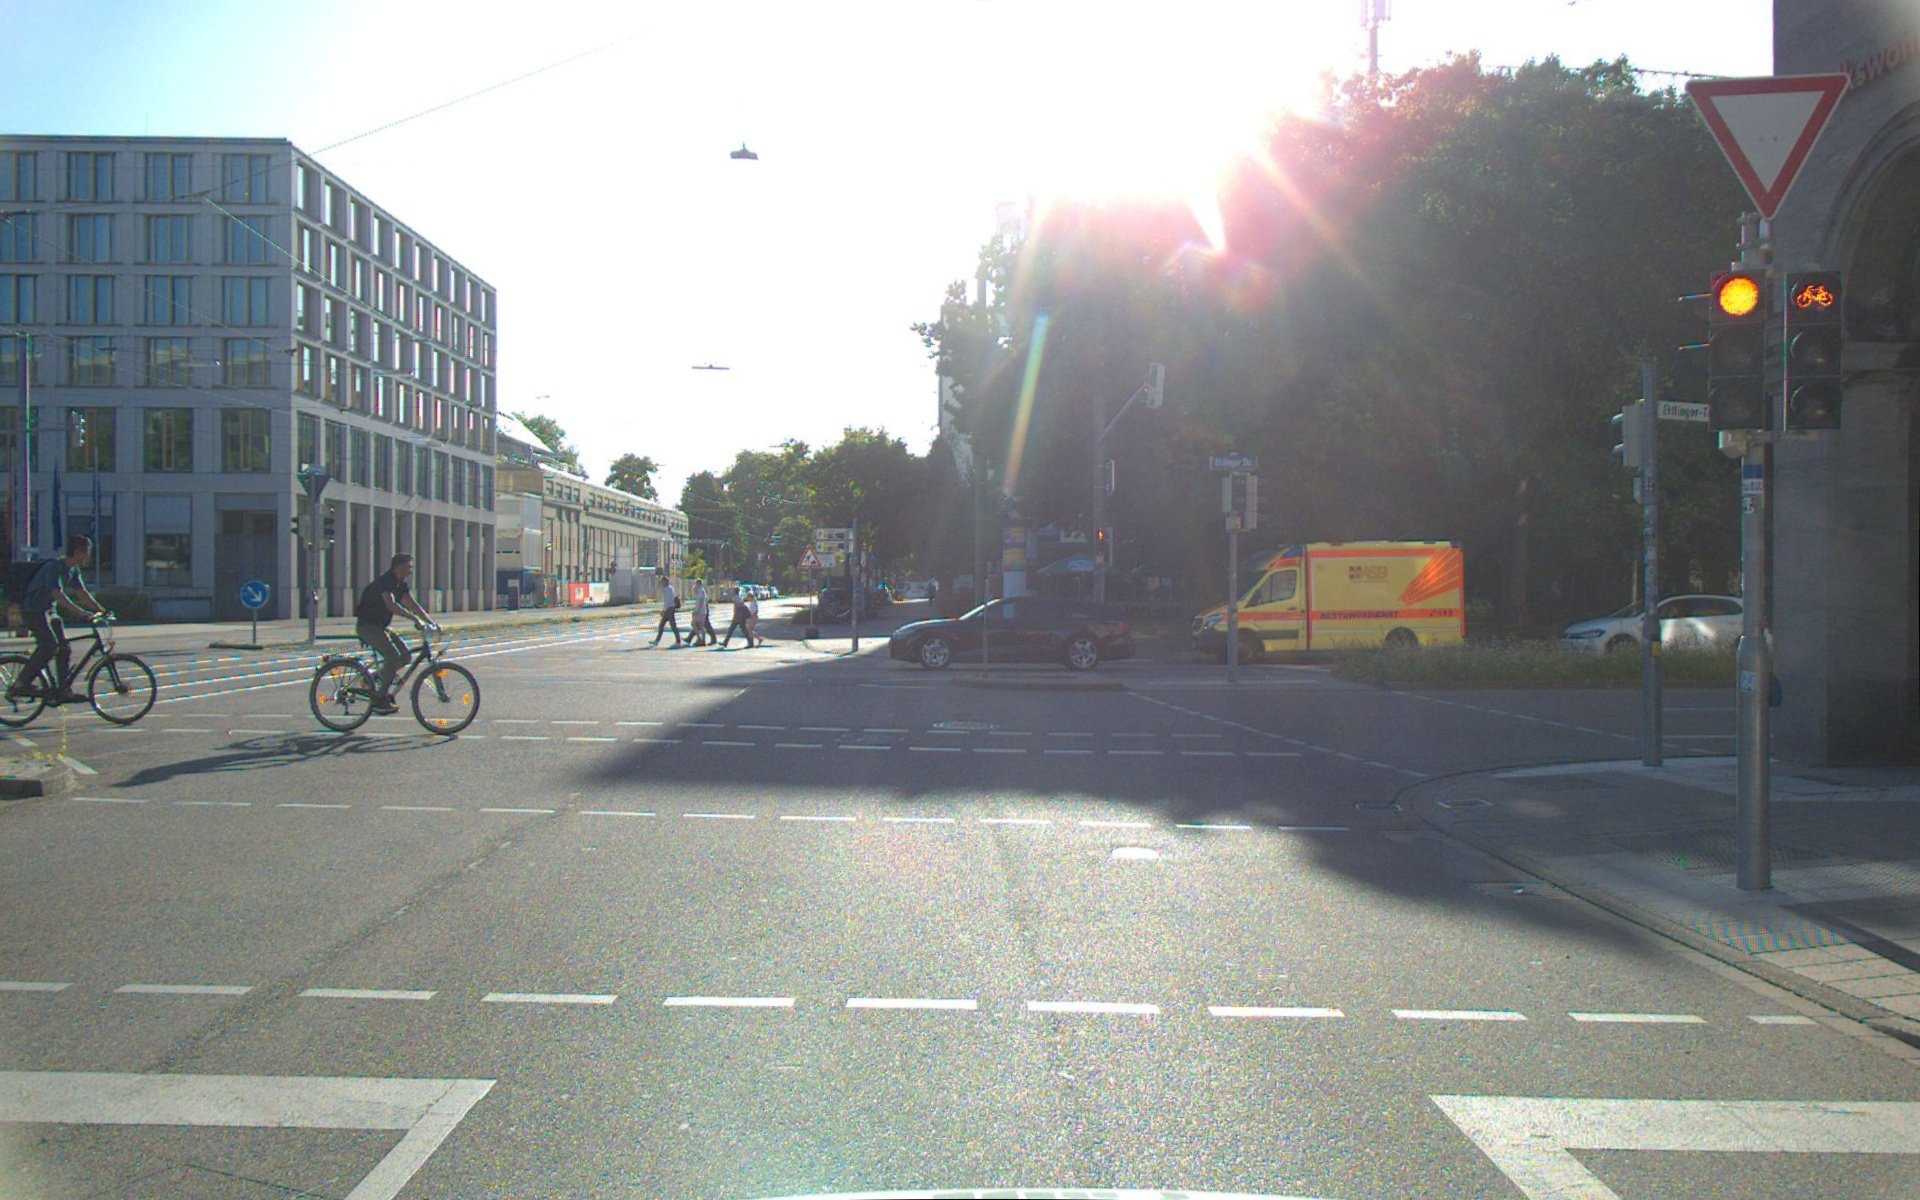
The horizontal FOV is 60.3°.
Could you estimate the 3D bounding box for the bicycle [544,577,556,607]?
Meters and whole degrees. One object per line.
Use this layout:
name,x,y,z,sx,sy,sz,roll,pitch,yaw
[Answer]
bicycle,-32.263,-0.657,130.163,0.559,2.336,1.422,0,0,-2

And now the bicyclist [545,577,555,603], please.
bicyclist,-32.265,-0.791,130.197,0.559,2.059,0.761,0,0,-2

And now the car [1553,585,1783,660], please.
car,14.237,0.450,33.378,3.961,1.459,1.631,0,-1,-2

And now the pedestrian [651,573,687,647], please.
pedestrian,-7.764,0.274,44.131,0.785,1.951,0.637,0,0,4

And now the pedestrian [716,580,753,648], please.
pedestrian,-6.135,0.367,45.060,0.852,1.835,0.664,0,0,4

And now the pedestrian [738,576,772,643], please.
pedestrian,-5.656,0.262,45.670,0.851,1.835,0.532,0,0,4

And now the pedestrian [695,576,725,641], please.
pedestrian,-7.012,0.236,46.339,0.723,1.835,0.532,0,0,4

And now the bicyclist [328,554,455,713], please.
bicyclist,-5.724,0.321,16.689,0.981,1.538,0.767,1,2,3

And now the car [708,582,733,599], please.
car,-22.536,-0.901,155.980,1.856,1.635,4.498,0,0,-3

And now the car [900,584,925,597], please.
car,-6.114,-1.206,213.353,3.152,1.616,1.445,1,0,-5

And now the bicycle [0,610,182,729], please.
bicycle,-9.241,0.719,17.293,1.834,1.178,0.767,0,2,2

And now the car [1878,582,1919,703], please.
car,14.713,0.547,21.032,4.838,1.537,2.211,0,1,2

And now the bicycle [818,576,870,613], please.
bicycle,-5.707,-0.248,81.425,2.495,1.774,1.037,1,0,-1

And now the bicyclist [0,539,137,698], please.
bicyclist,-9.366,0.179,17.276,1.100,1.622,0.767,0,2,2

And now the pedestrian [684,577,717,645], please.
pedestrian,-7.122,0.305,45.387,0.723,1.835,0.716,0,0,4

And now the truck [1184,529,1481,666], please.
truck,8.578,-0.062,38.607,6.336,3.068,2.725,0,0,0

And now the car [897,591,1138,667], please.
car,1.104,0.589,32.924,4.639,1.440,1.999,1,-2,-1

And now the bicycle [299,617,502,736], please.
bicycle,-5.632,0.760,16.701,1.775,1.104,0.767,1,2,3

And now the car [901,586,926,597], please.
car,-5.955,-1.081,211.088,3.155,1.285,1.371,1,0,-6
